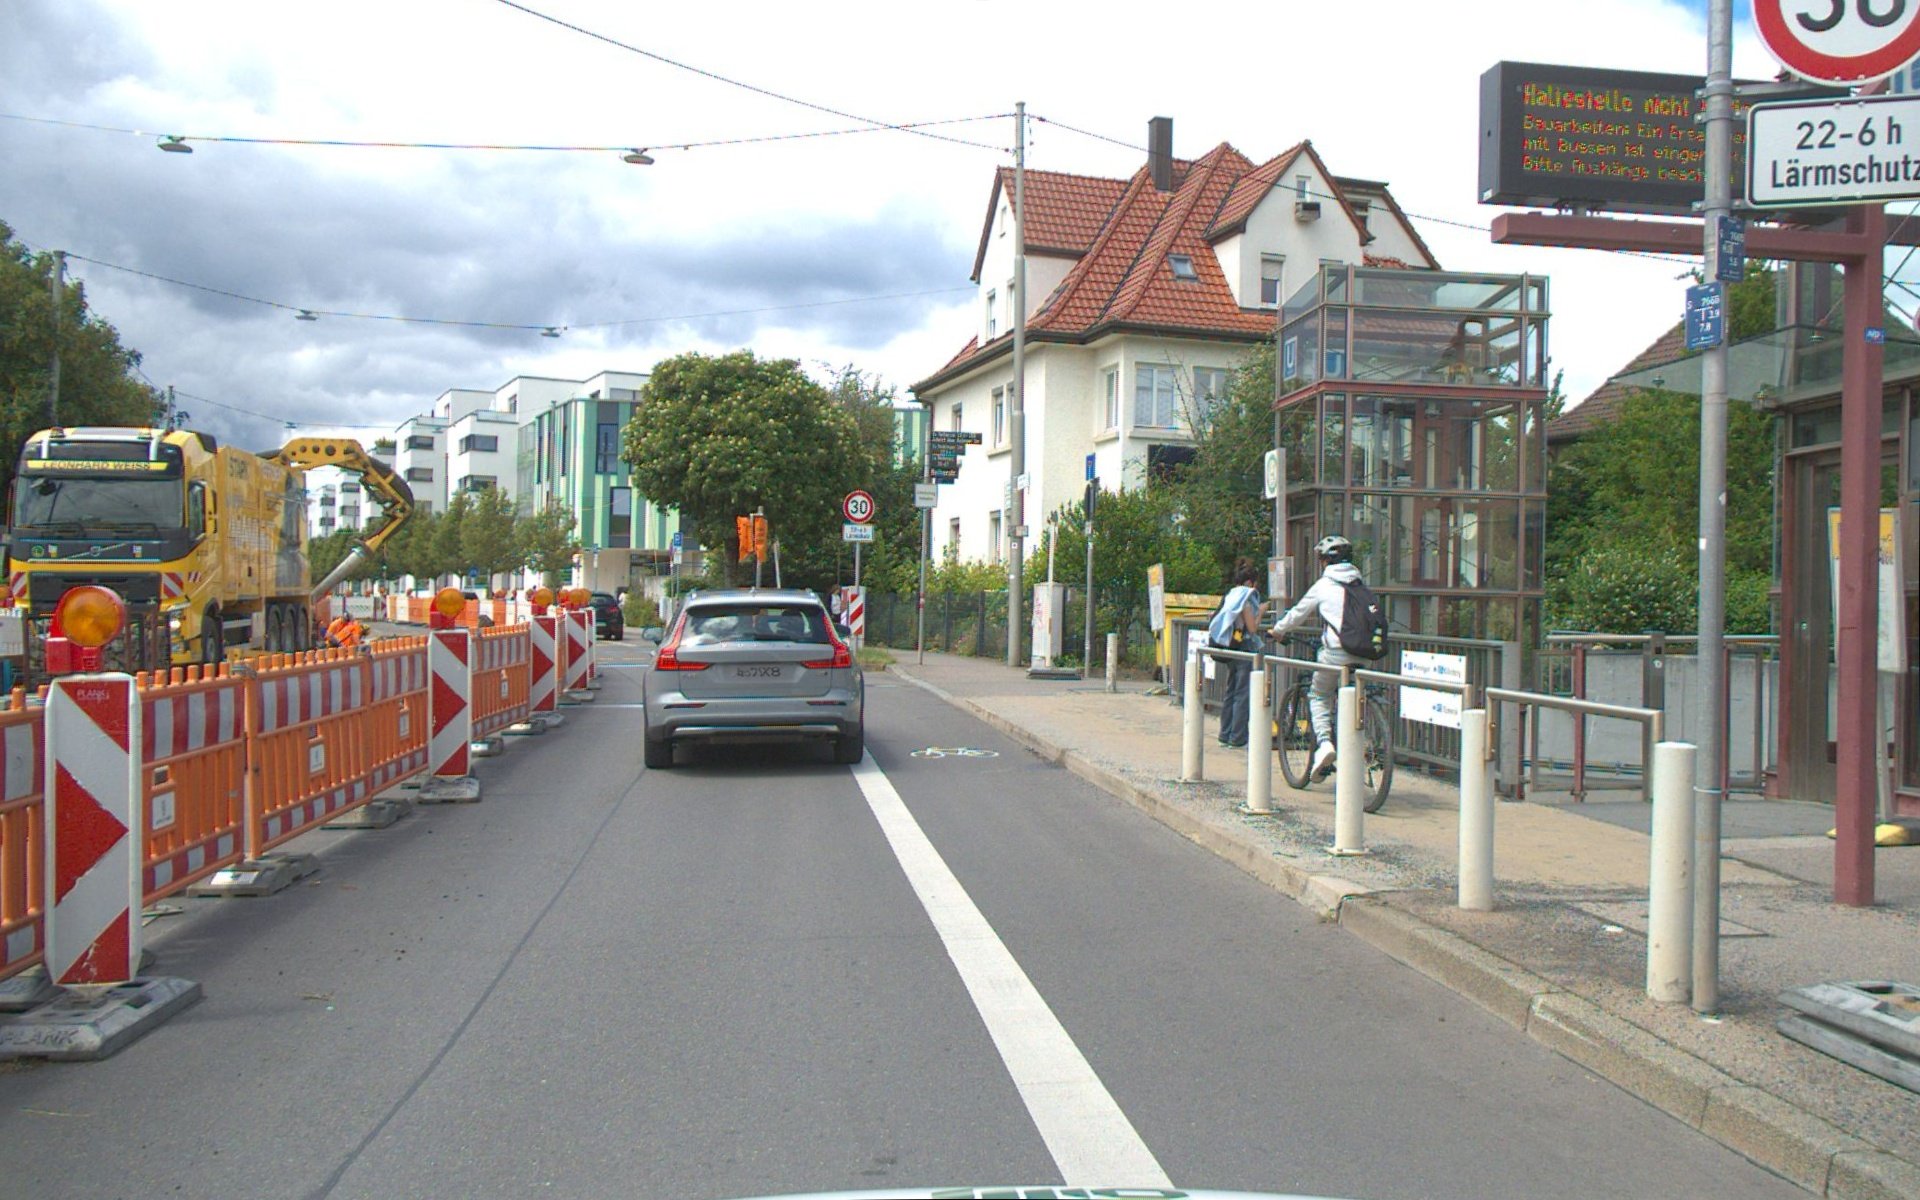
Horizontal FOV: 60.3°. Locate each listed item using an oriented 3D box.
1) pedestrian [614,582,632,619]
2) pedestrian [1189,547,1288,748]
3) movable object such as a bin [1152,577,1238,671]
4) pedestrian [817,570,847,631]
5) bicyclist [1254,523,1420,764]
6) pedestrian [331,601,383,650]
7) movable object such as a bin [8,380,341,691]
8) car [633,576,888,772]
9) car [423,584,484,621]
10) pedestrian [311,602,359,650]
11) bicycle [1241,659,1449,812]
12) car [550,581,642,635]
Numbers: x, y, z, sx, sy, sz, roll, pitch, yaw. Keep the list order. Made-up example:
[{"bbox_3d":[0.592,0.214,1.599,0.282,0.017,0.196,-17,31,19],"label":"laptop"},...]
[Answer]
[{"bbox_3d":[-14.709,0.012,72.102,0.574,1.579,0.862,0,0,-26],"label":"pedestrian"},{"bbox_3d":[2.341,0.402,13.915,0.587,1.610,0.401,6,-2,-7],"label":"pedestrian"},{"bbox_3d":[3.876,0.385,27.369,1.242,1.496,1.004,1,0,-1],"label":"movable object such as a bin"},{"bbox_3d":[-3.278,0.012,42.381,0.627,1.566,0.517,0,0,-30],"label":"pedestrian"},{"bbox_3d":[2.372,0.253,10.532,0.643,1.440,1.177,1,1,-7],"label":"bicyclist"},{"bbox_3d":[-12.627,0.525,34.633,0.774,1.008,0.812,0,0,2],"label":"pedestrian"},{"bbox_3d":[-12.990,-0.957,28.559,2.545,4.295,11.090,0,1,-11],"label":"movable object such as a bin"},{"bbox_3d":[-1.648,0.557,14.934,1.816,1.539,4.000,0,1,0],"label":"car"},{"bbox_3d":[-22.583,0.100,73.664,1.825,1.539,3.962,2,0,-29],"label":"car"},{"bbox_3d":[-13.320,0.543,35.248,0.627,1.008,0.794,0,0,12],"label":"pedestrian"},{"bbox_3d":[2.422,0.829,10.669,0.623,0.766,2.059,1,1,-7],"label":"bicycle"},{"bbox_3d":[-11.186,0.228,50.624,1.832,1.539,3.966,2,0,-26],"label":"car"}]
